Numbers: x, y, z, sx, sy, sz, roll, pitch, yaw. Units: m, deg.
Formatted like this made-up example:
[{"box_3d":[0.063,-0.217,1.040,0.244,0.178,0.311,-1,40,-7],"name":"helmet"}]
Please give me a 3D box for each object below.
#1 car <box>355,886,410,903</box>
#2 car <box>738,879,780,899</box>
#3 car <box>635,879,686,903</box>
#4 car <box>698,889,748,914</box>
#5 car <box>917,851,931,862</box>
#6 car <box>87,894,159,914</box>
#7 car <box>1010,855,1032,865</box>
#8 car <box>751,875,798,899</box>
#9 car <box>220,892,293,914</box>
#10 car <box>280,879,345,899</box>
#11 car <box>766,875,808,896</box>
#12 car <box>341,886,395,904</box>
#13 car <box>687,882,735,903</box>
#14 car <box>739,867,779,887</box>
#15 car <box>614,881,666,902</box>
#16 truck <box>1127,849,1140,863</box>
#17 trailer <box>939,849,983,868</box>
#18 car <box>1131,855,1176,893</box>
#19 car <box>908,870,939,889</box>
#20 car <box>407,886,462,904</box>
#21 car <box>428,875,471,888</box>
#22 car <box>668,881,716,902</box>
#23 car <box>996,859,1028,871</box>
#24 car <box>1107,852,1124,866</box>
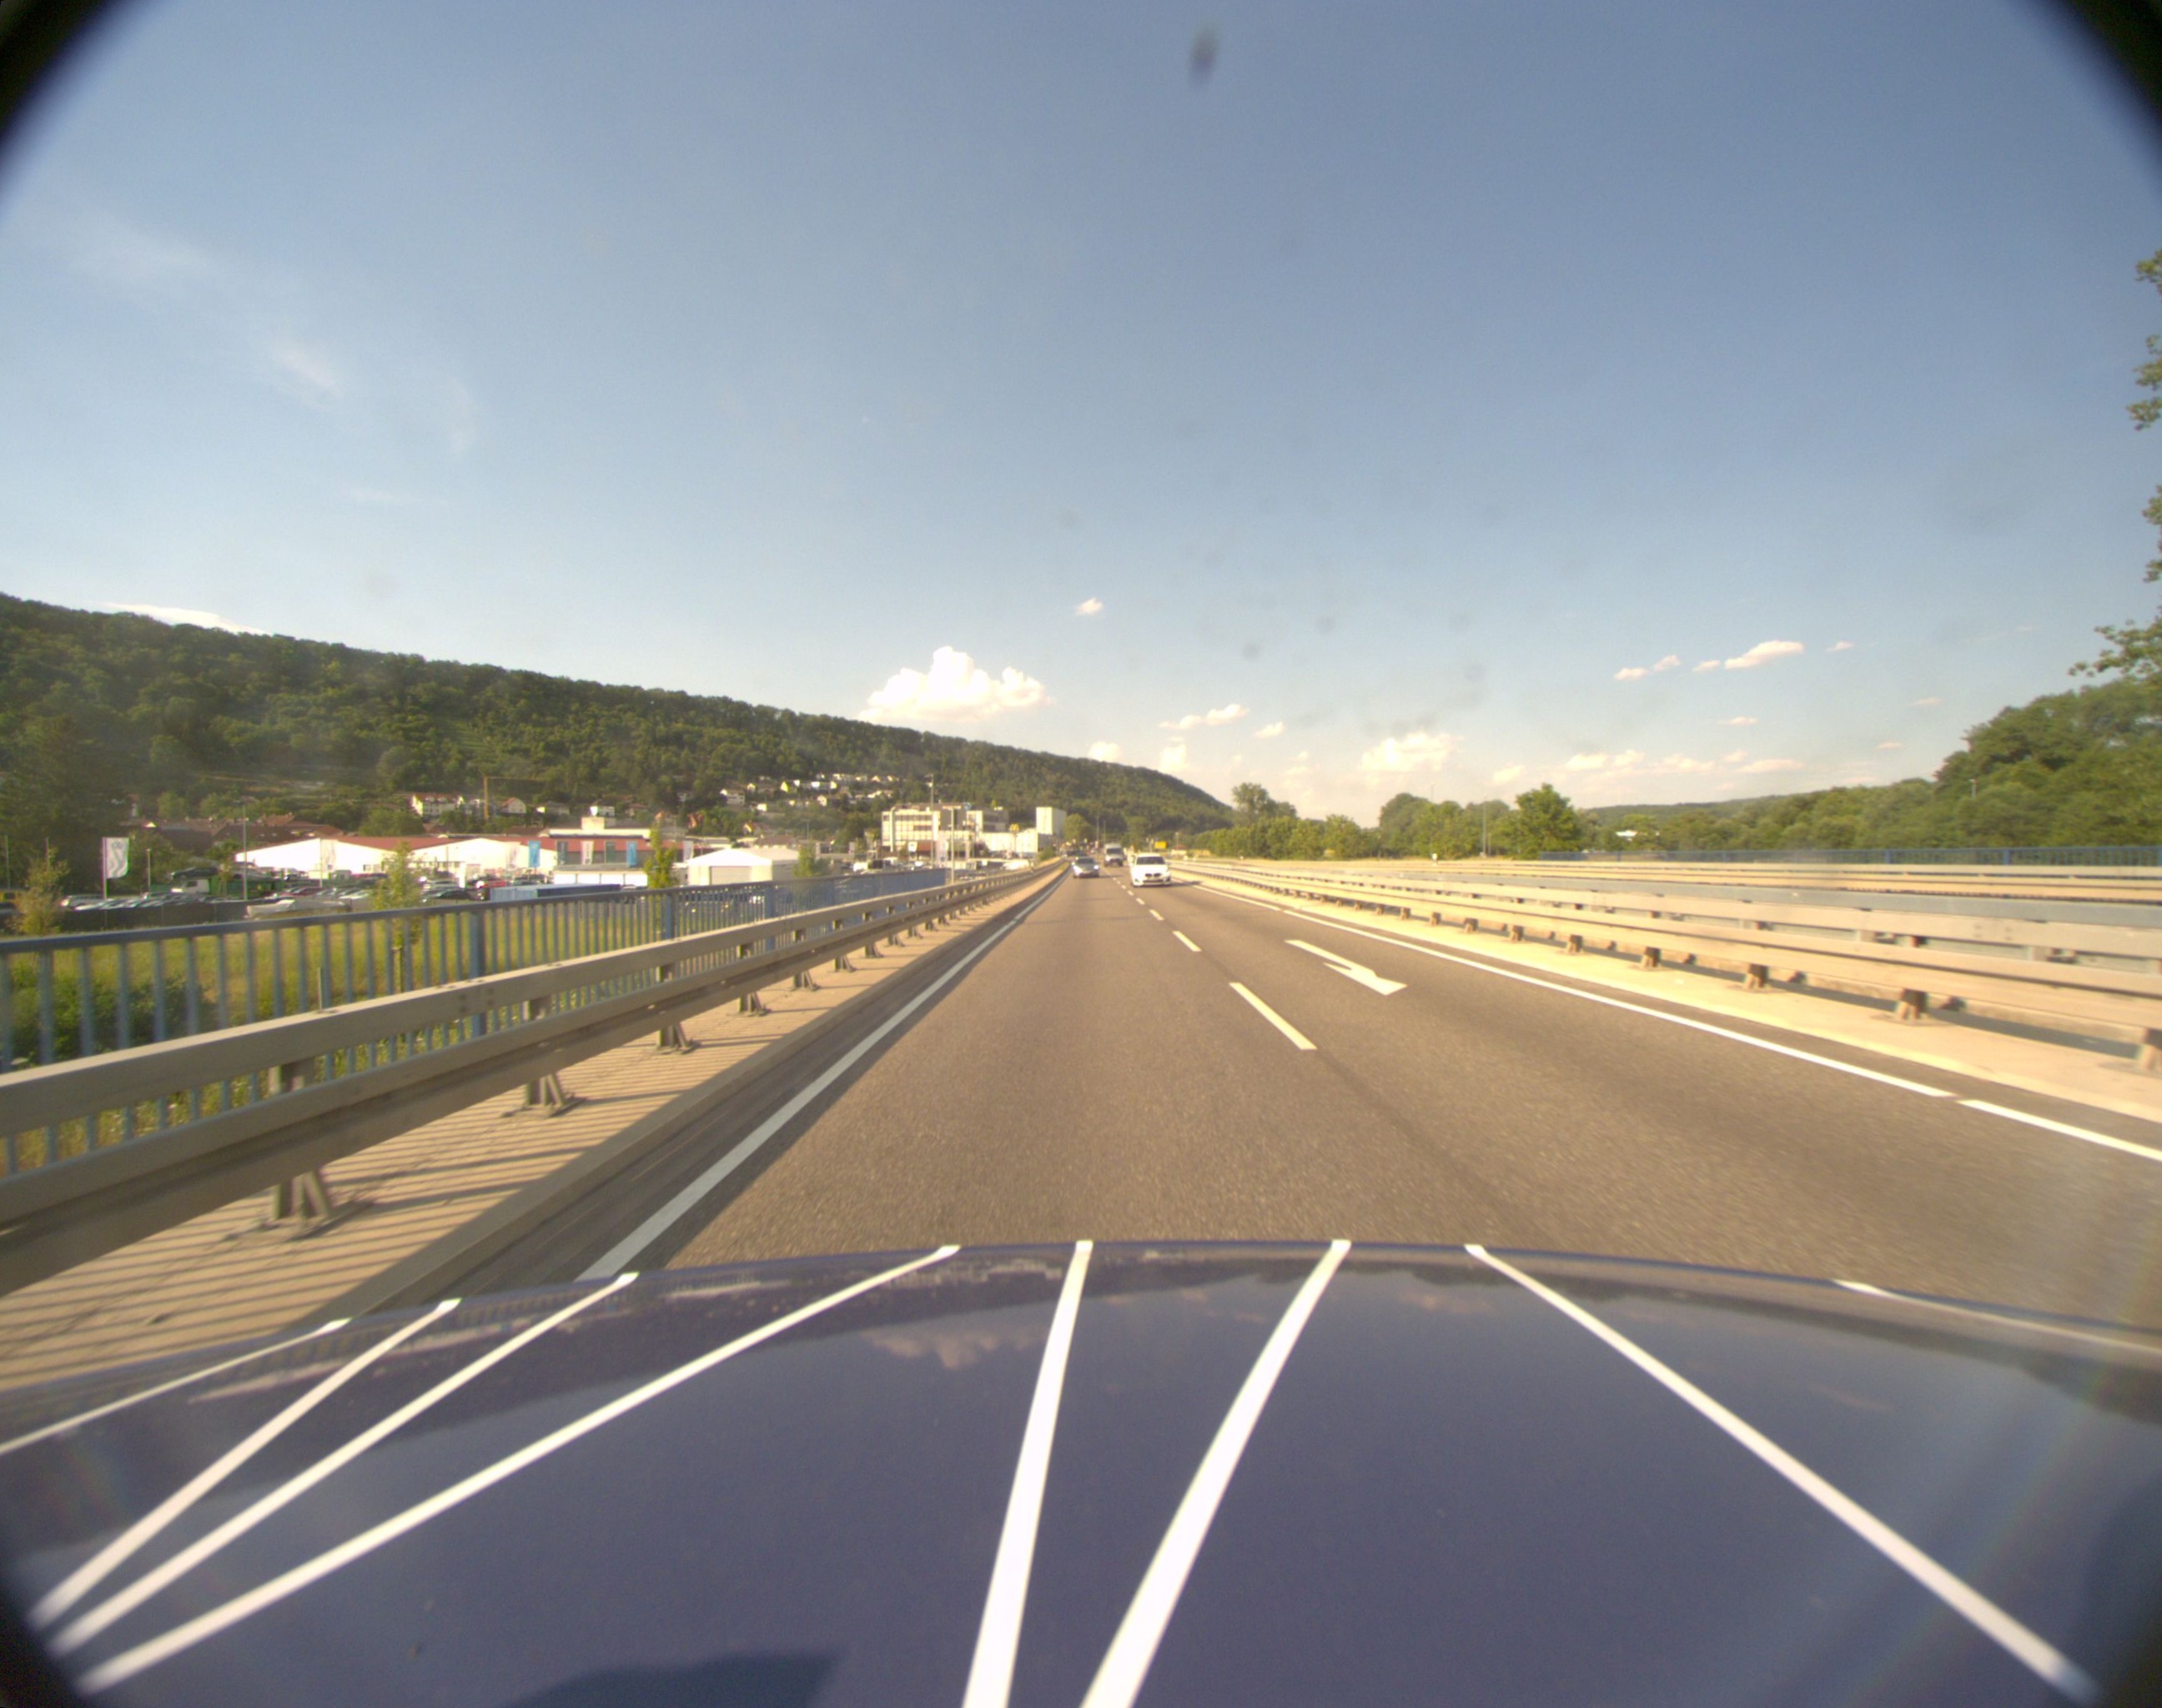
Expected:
[{"box_3d":[-73.977,4.283,80.544,1.748,1.568,3.785,-2,1,23],"name":"car"},{"box_3d":[-33.443,3.614,78.973,1.883,1.627,4.730,-2,1,6],"name":"car"},{"box_3d":[-34.795,3.033,62.948,1.709,1.594,4.000,-2,1,5],"name":"car"},{"box_3d":[-29.168,3.829,62.056,1.779,1.674,4.001,-2,1,5],"name":"car"},{"box_3d":[-35.681,0.511,172.985,1.759,2.233,5.297,-2,1,4],"name":"car"},{"box_3d":[-89.675,4.655,71.178,1.749,1.568,3.785,-2,1,21],"name":"car"},{"box_3d":[-11.806,1.202,149.689,3.996,1.740,1.901,-2,1,2],"name":"car"},{"box_3d":[-24.834,2.652,61.691,1.779,1.674,4.001,-2,1,5],"name":"car"},{"box_3d":[-70.766,4.186,65.285,1.749,1.568,3.785,-2,1,21],"name":"car"},{"box_3d":[-70.744,3.232,70.018,1.749,1.568,3.784,-2,1,17],"name":"car"},{"box_3d":[-28.297,3.018,73.260,1.884,1.627,4.730,-2,1,4],"name":"car"},{"box_3d":[-76.739,4.406,81.849,1.748,1.568,3.785,-2,1,23],"name":"car"},{"box_3d":[-35.722,3.694,73.495,1.884,1.627,4.730,-2,1,5],"name":"car"},{"box_3d":[-30.902,2.175,73.023,1.778,1.674,4.001,-2,1,6],"name":"car"},{"box_3d":[-42.373,3.609,73.111,1.884,1.627,4.730,-2,1,5],"name":"car"},{"box_3d":[14.841,0.547,216.646,2.940,3.476,10.496,-1,1,0],"name":"truck"},{"box_3d":[-23.817,0.913,150.784,7.896,3.304,3.359,-2,1,5],"name":"trailer"},{"box_3d":[3.456,0.921,36.869,1.825,1.552,3.999,-2,1,1],"name":"car"},{"box_3d":[-18.942,3.061,91.474,1.883,1.920,4.732,-2,1,10],"name":"car"},{"box_3d":[-66.060,4.170,77.696,1.748,1.568,3.785,-2,1,23],"name":"car"},{"box_3d":[-86.961,3.782,104.673,1.586,1.494,4.233,-2,1,23],"name":"car"},{"box_3d":[-37.919,3.612,74.210,1.884,1.627,4.730,-2,1,5],"name":"car"},{"box_3d":[-13.147,2.037,144.884,5.895,2.002,2.000,-2,1,3],"name":"car"},{"box_3d":[3.816,0.556,84.553,1.690,1.383,3.883,-1,1,1],"name":"car"}]
